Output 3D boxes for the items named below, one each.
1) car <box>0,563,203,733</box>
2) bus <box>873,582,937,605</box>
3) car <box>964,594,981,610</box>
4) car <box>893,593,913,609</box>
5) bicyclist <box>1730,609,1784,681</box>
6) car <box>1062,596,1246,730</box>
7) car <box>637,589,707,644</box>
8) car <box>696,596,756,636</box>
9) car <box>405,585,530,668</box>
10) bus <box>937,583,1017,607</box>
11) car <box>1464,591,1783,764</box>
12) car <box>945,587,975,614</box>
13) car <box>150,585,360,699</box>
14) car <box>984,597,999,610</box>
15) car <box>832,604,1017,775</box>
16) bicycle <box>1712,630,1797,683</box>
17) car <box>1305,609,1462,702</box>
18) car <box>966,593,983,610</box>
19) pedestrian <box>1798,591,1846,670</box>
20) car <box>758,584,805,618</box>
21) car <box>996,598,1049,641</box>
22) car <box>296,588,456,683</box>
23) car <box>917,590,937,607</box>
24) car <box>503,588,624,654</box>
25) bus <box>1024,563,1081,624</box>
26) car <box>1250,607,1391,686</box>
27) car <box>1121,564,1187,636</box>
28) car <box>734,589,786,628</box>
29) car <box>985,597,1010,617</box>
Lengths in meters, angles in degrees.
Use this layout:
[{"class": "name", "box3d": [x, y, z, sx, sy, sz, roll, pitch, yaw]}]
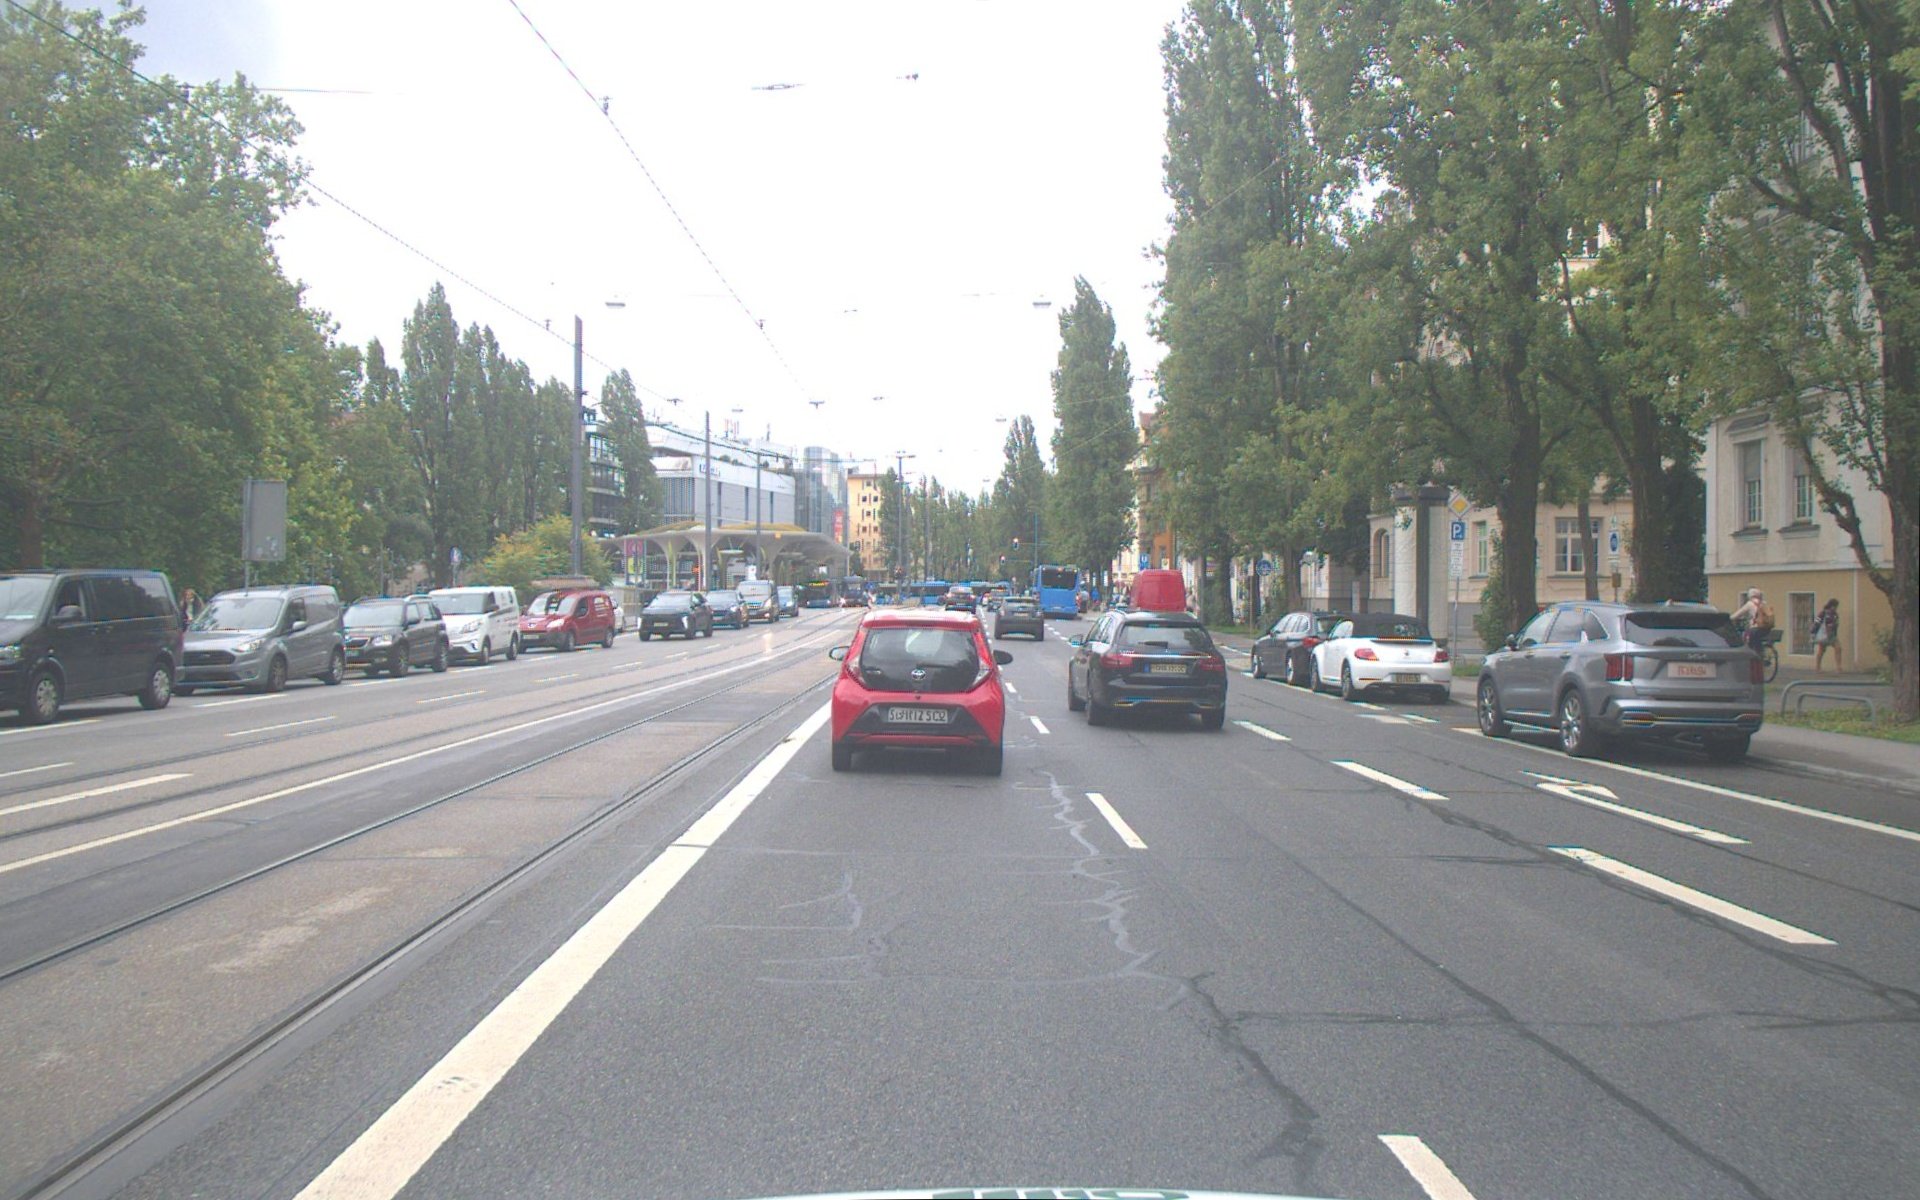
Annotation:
[{"class": "car", "box3d": [-12.208, 0.590, 22.228, 1.762, 2.026, 5.038, -1, 0, 0]}, {"class": "bus", "box3d": [-7.197, -0.836, 215.313, 8.298, 2.895, 1.999, 0, 1, -4]}, {"class": "car", "box3d": [1.475, 0.255, 193.449, 1.766, 1.624, 4.001, 1, -3, 3]}, {"class": "car", "box3d": [-5.462, 0.138, 158.762, 1.744, 1.512, 3.999, 0, 0, 0]}, {"class": "bicyclist", "box3d": [15.025, 0.842, 31.184, 0.647, 1.337, 0.705, 0, 0, -2]}, {"class": "car", "box3d": [2.517, 0.756, 22.546, 1.826, 1.576, 4.702, 0, 1, -2]}, {"class": "car", "box3d": [-10.047, 0.565, 58.001, 1.763, 1.820, 4.517, -2, 0, -2]}, {"class": "car", "box3d": [-9.744, 0.639, 69.174, 1.762, 1.557, 4.519, -2, 0, 0]}, {"class": "car", "box3d": [-12.269, 0.636, 41.512, 1.763, 1.894, 4.629, -2, 0, -1]}, {"class": "bus", "box3d": [2.171, -0.672, 215.981, 10.347, 2.895, 1.999, 0, 1, -4]}, {"class": "car", "box3d": [7.594, 0.804, 19.486, 1.763, 1.773, 4.699, 0, 0, -2]}, {"class": "car", "box3d": [-0.026, 0.021, 98.083, 1.700, 1.576, 4.576, 0, 0, -1]}, {"class": "car", "box3d": [-12.367, 0.694, 29.343, 1.763, 1.820, 4.518, -2, 0, 0]}, {"class": "car", "box3d": [3.734, 0.366, 195.442, 1.744, 1.512, 4.000, 0, 0, 0]}, {"class": "car", "box3d": [-0.393, 0.800, 16.277, 1.596, 1.465, 3.374, 1, 0, -3]}, {"class": "bicycle", "box3d": [15.018, 1.053, 31.315, 0.639, 0.939, 1.902, 0, 0, -2]}, {"class": "car", "box3d": [7.475, 0.928, 29.576, 1.762, 1.534, 3.999, 0, 0, 0]}, {"class": "car", "box3d": [1.641, 0.175, 186.372, 1.766, 1.624, 4.001, 1, -3, 3]}, {"class": "pedestrian", "box3d": [17.516, 0.614, 33.626, 0.541, 1.574, 0.738, 1, 1, -2]}, {"class": "car", "box3d": [-9.368, 0.043, 87.118, 1.762, 1.694, 4.520, -2, 0, 2]}, {"class": "car", "box3d": [2.255, 0.703, 60.413, 1.744, 1.512, 3.999, 0, 0, 0]}, {"class": "car", "box3d": [-12.258, 0.713, 35.041, 1.763, 1.820, 4.518, -2, 0, 0]}, {"class": "car", "box3d": [-2.864, -0.114, 144.569, 1.744, 1.512, 4.000, 0, 0, 0]}, {"class": "car", "box3d": [-11.767, 0.598, 49.350, 1.761, 1.820, 4.523, -2, 0, 11]}, {"class": "bus", "box3d": [5.590, -0.505, 101.640, 2.847, 3.455, 10.806, 1, 2, 0]}, {"class": "car", "box3d": [7.461, 0.928, 34.688, 1.763, 1.534, 4.447, 0, 0, -3]}, {"class": "car", "box3d": [7.505, -0.043, 64.326, 1.953, 2.619, 4.680, 1, 2, 0]}, {"class": "car", "box3d": [-9.229, 0.380, 76.644, 1.762, 1.694, 4.519, -2, 0, 0]}, {"class": "car", "box3d": [2.752, 0.511, 122.490, 1.744, 1.512, 4.000, 0, 0, 0]}]
